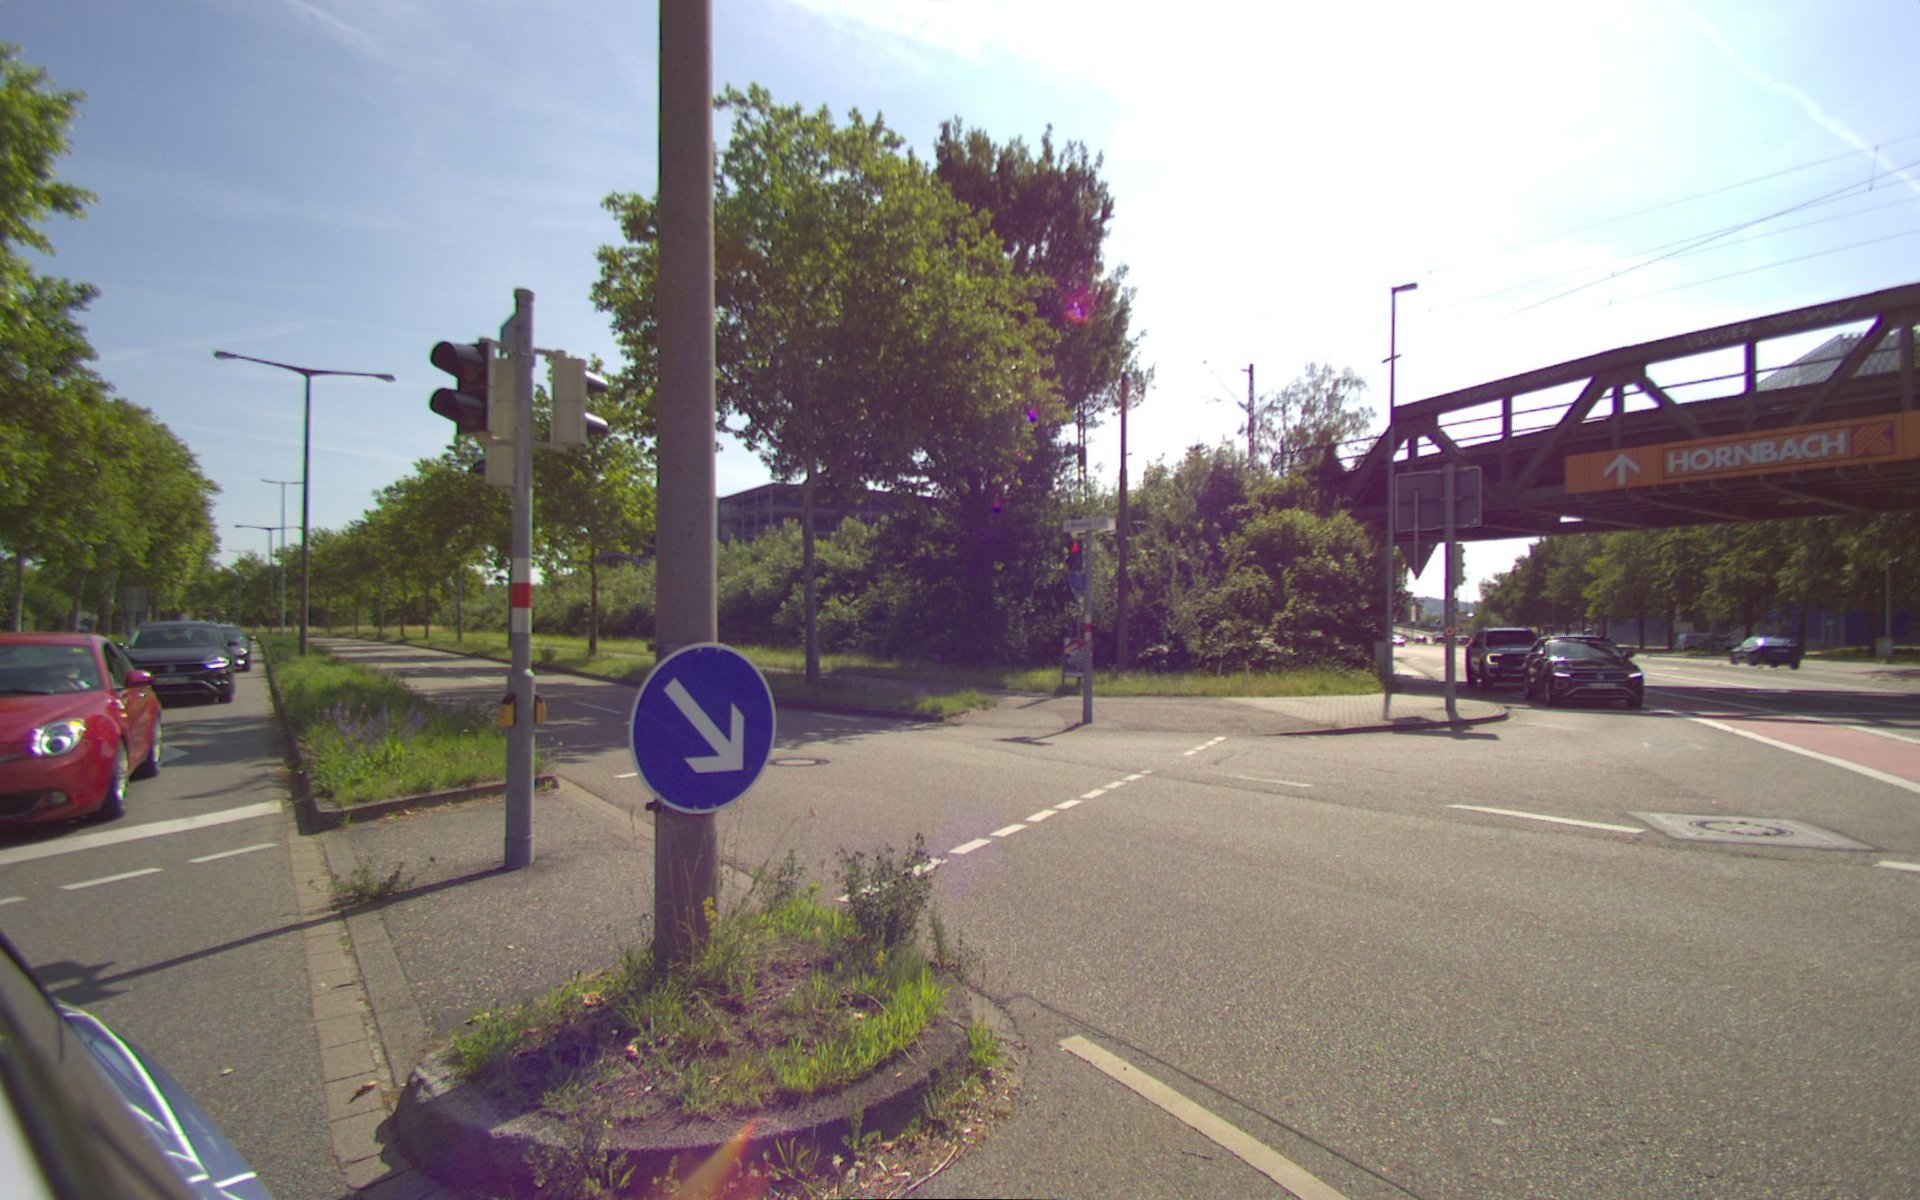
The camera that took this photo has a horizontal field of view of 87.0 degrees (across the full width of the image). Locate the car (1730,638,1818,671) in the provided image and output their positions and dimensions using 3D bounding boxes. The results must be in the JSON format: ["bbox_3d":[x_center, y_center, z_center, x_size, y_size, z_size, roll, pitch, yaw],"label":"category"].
[{"bbox_3d":[37.578,2.486,46.867,1.778,1.408,4.297,0,-2,19],"label":"car"}]

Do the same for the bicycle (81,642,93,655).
[{"bbox_3d":[-90.210,5.000,104.619,0.676,1.247,1.939,2,-2,-35],"label":"bicycle"}]

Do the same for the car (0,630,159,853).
[{"bbox_3d":[-7.658,0.987,8.142,1.632,1.449,3.918,-1,-1,-35],"label":"car"}]

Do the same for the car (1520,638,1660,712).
[{"bbox_3d":[14.084,1.631,22.857,1.809,1.492,3.917,-3,-3,20],"label":"car"}]

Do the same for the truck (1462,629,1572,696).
[{"bbox_3d":[16.735,1.836,30.682,2.017,1.833,5.290,-3,-3,20],"label":"truck"}]

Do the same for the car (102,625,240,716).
[{"bbox_3d":[-15.101,1.272,19.562,1.844,1.557,4.091,1,-2,-35],"label":"car"}]

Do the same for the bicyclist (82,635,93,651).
[{"bbox_3d":[-90.225,4.450,104.667,0.676,1.644,1.004,2,-2,-35],"label":"bicyclist"}]

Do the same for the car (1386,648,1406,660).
[{"bbox_3d":[56.857,7.079,132.111,1.958,1.504,4.058,0,-2,17],"label":"car"}]
